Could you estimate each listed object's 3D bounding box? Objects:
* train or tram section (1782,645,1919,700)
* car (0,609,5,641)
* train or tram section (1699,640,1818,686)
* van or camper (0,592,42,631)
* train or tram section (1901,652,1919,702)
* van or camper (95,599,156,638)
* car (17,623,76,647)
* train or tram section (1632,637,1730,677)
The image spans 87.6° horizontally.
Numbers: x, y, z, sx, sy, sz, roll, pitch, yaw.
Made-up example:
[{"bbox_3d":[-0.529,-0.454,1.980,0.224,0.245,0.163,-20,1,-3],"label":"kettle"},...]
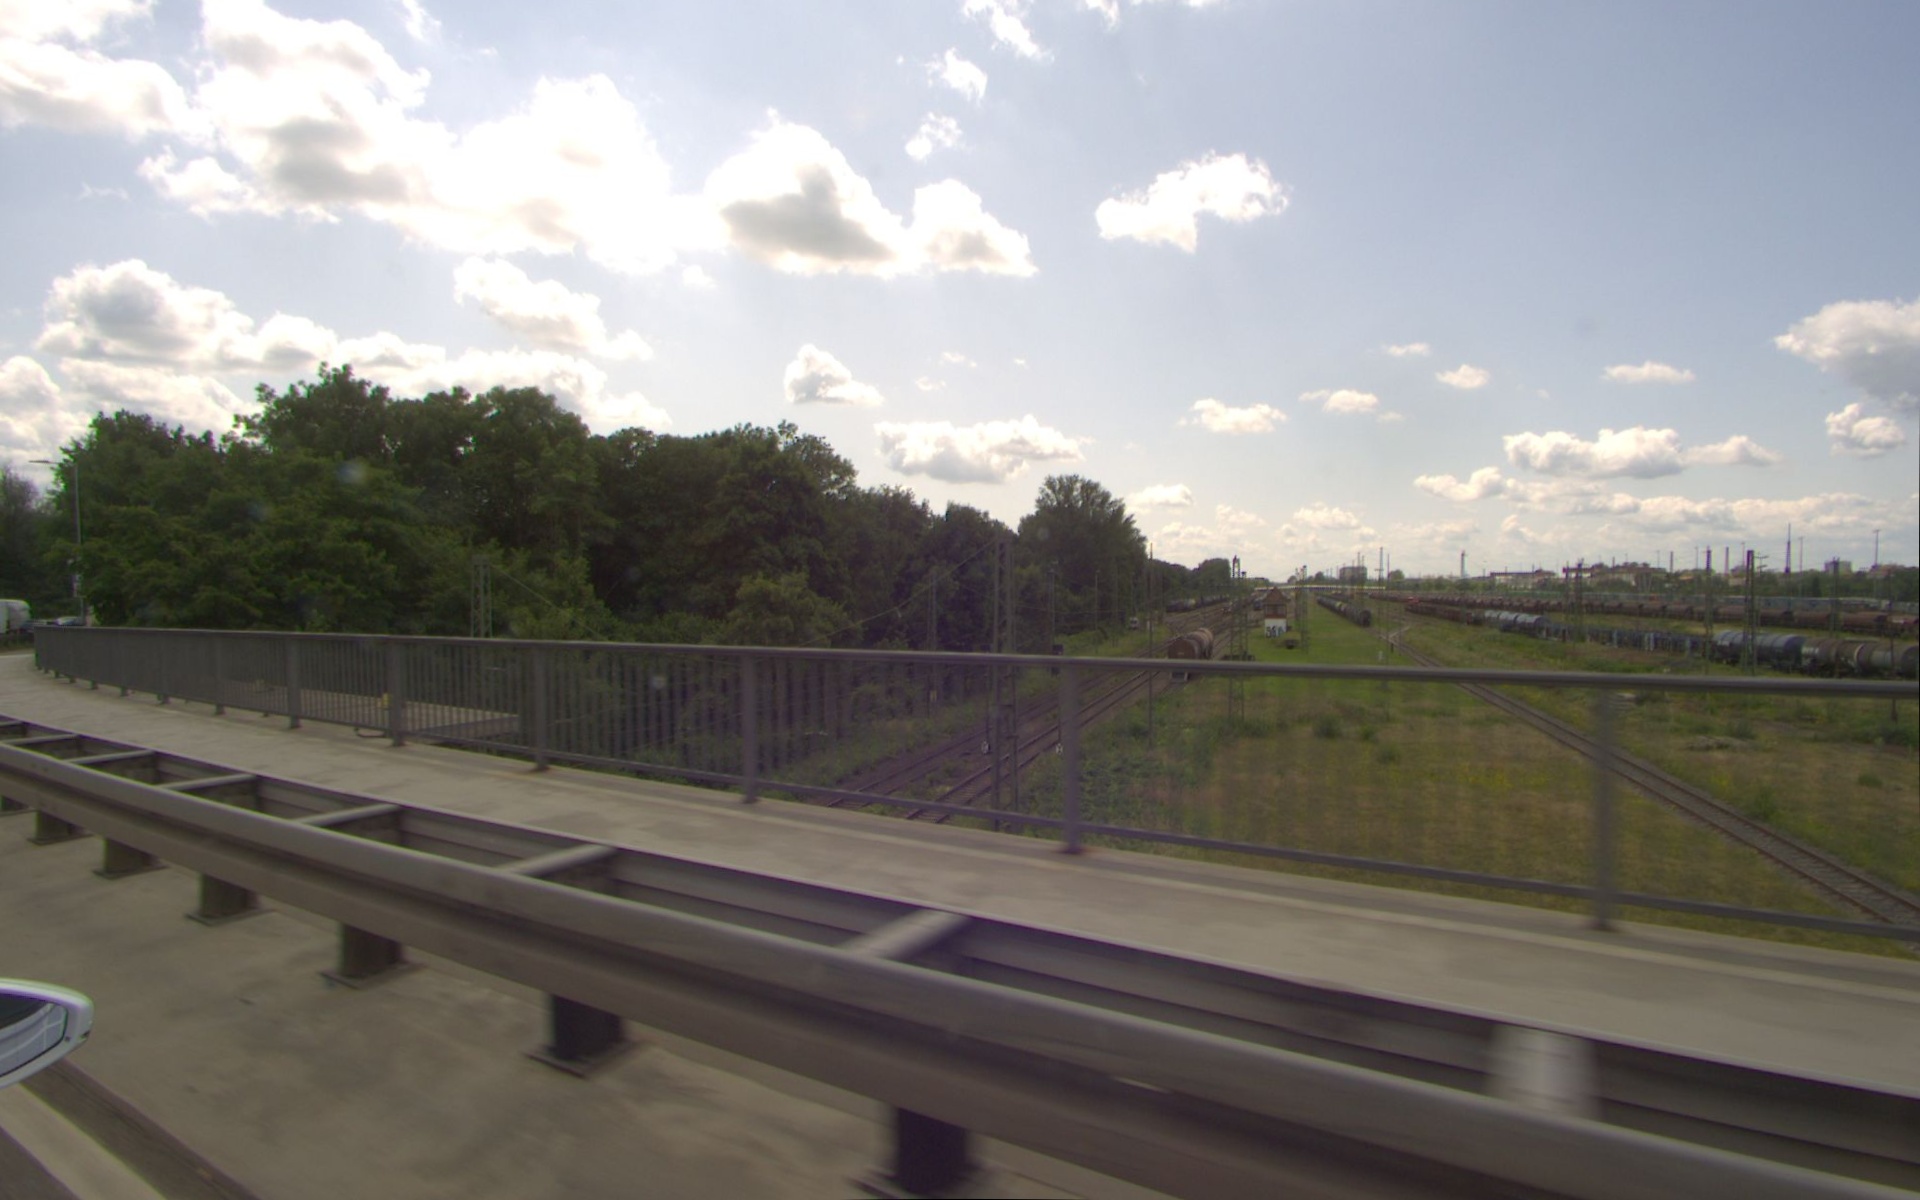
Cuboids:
[{"bbox_3d":[87.181,6.844,97.483,3.152,4.206,15.960,-3,-1,8],"label":"train or tram section"},{"bbox_3d":[-49.382,1.225,50.085,1.717,1.672,3.831,2,-3,-35],"label":"car"},{"bbox_3d":[89.772,6.950,113.223,3.152,4.206,15.956,-3,-1,10],"label":"train or tram section"},{"bbox_3d":[-60.506,0.690,63.644,2.250,2.371,5.208,2,-1,-32],"label":"van or camper"},{"bbox_3d":[84.568,6.767,81.731,3.152,4.206,15.955,-3,-1,11],"label":"train or tram section"},{"bbox_3d":[-60.289,1.334,72.434,1.966,2.623,4.081,2,-1,-19],"label":"van or camper"},{"bbox_3d":[-55.613,2.104,61.010,1.663,1.416,3.664,1,-2,-26],"label":"car"},{"bbox_3d":[92.412,7.178,128.947,3.152,4.206,15.960,-3,-1,8],"label":"train or tram section"}]
